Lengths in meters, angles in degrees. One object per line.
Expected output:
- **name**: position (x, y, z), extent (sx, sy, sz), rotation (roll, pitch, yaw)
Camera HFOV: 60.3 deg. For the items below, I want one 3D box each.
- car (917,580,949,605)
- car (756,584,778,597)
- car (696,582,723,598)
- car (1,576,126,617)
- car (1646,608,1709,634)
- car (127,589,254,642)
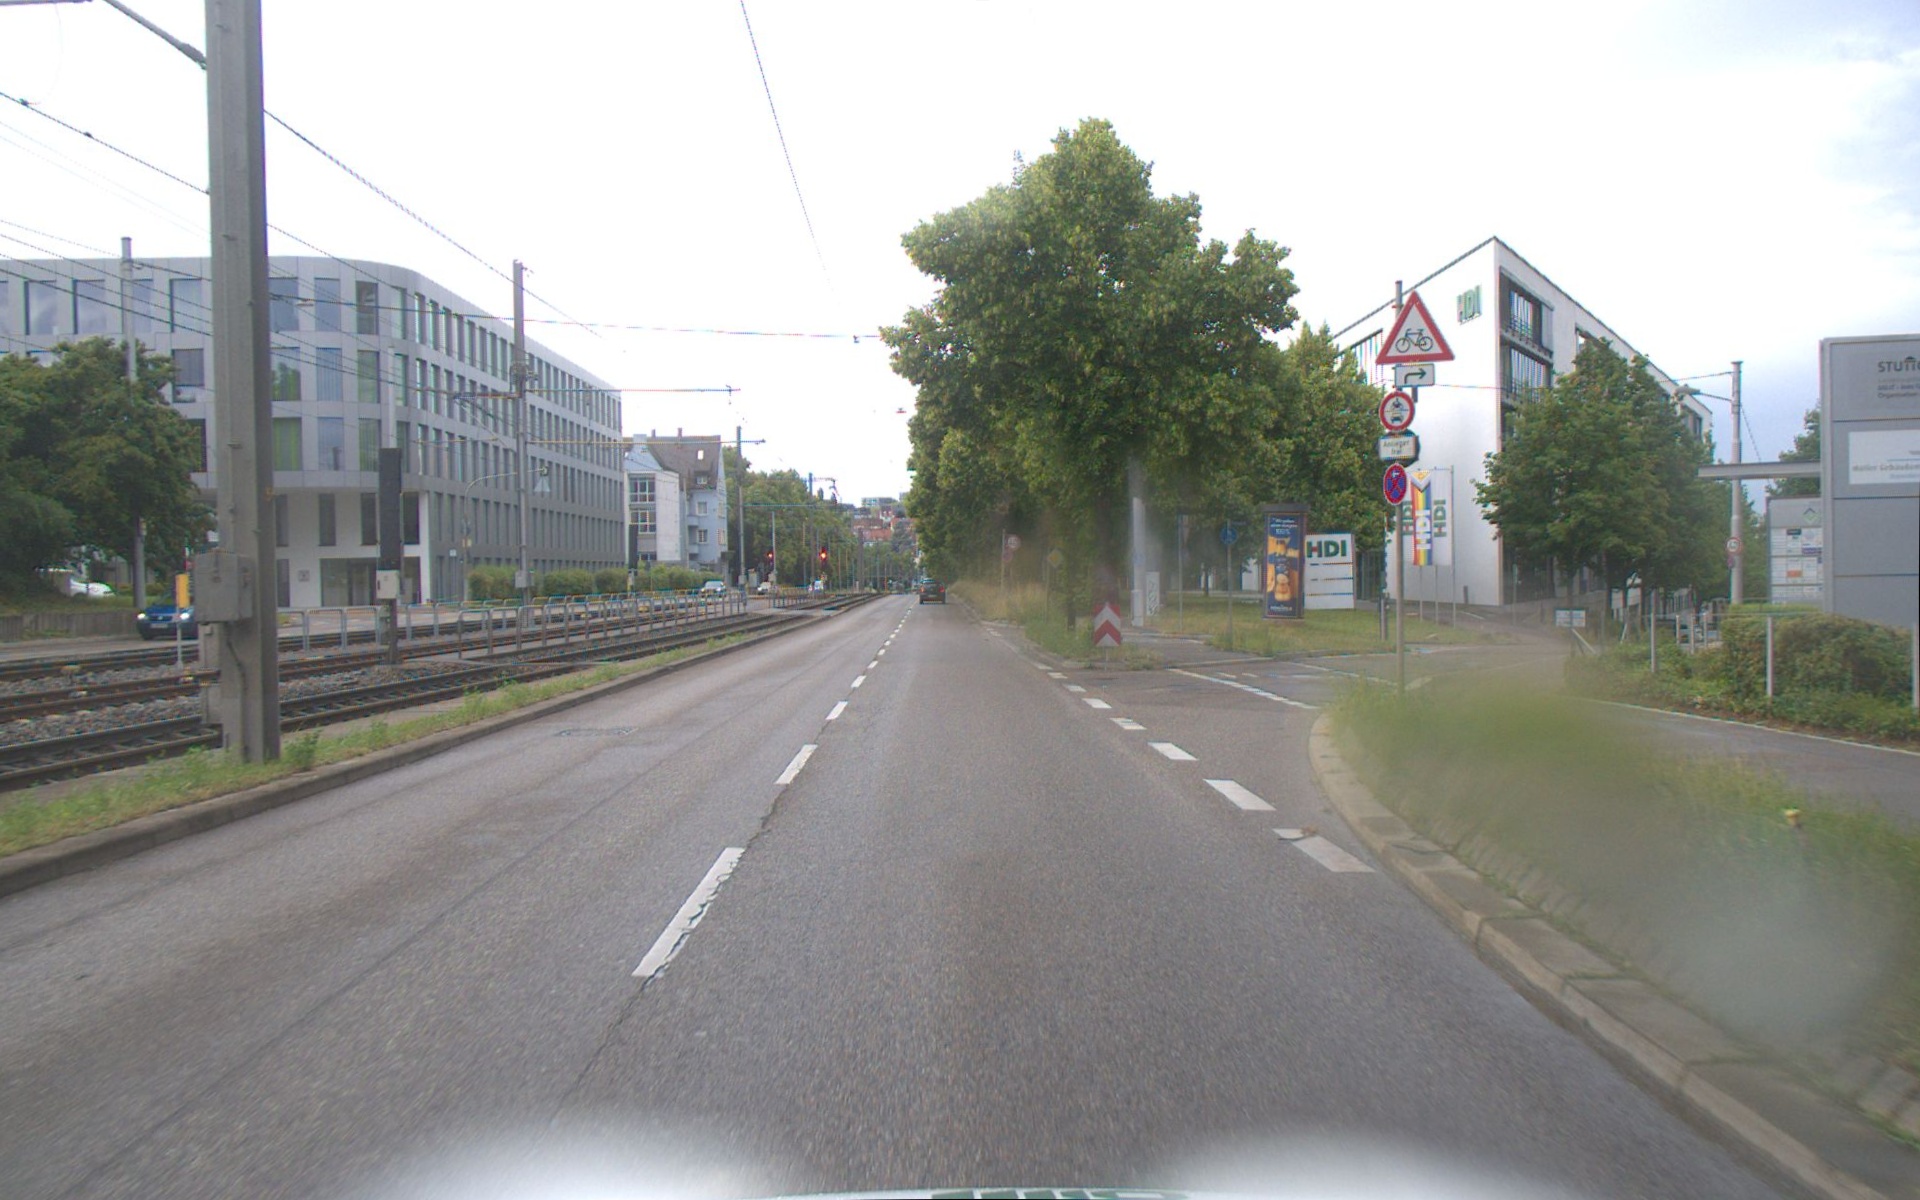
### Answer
- **car**: position (-1.726, -0.497, 106.048), extent (1.942, 1.466, 4.473), rotation (-1, 1, -1)
- **car**: position (-20.417, -1.009, 175.110), extent (1.761, 1.370, 4.259), rotation (-1, 1, -1)
- **car**: position (-21.321, -0.877, 140.910), extent (1.720, 1.265, 3.987), rotation (-1, 1, -1)
- **car**: position (-35.586, -0.143, 65.729), extent (3.841, 1.478, 1.925), rotation (2, 1, -3)
- **car**: position (49.616, 1.435, 114.484), extent (3.905, 1.747, 2.000), rotation (0, 1, 21)
- **car**: position (-22.249, 0.409, 47.966), extent (1.724, 1.422, 3.901), rotation (-1, 1, 2)
